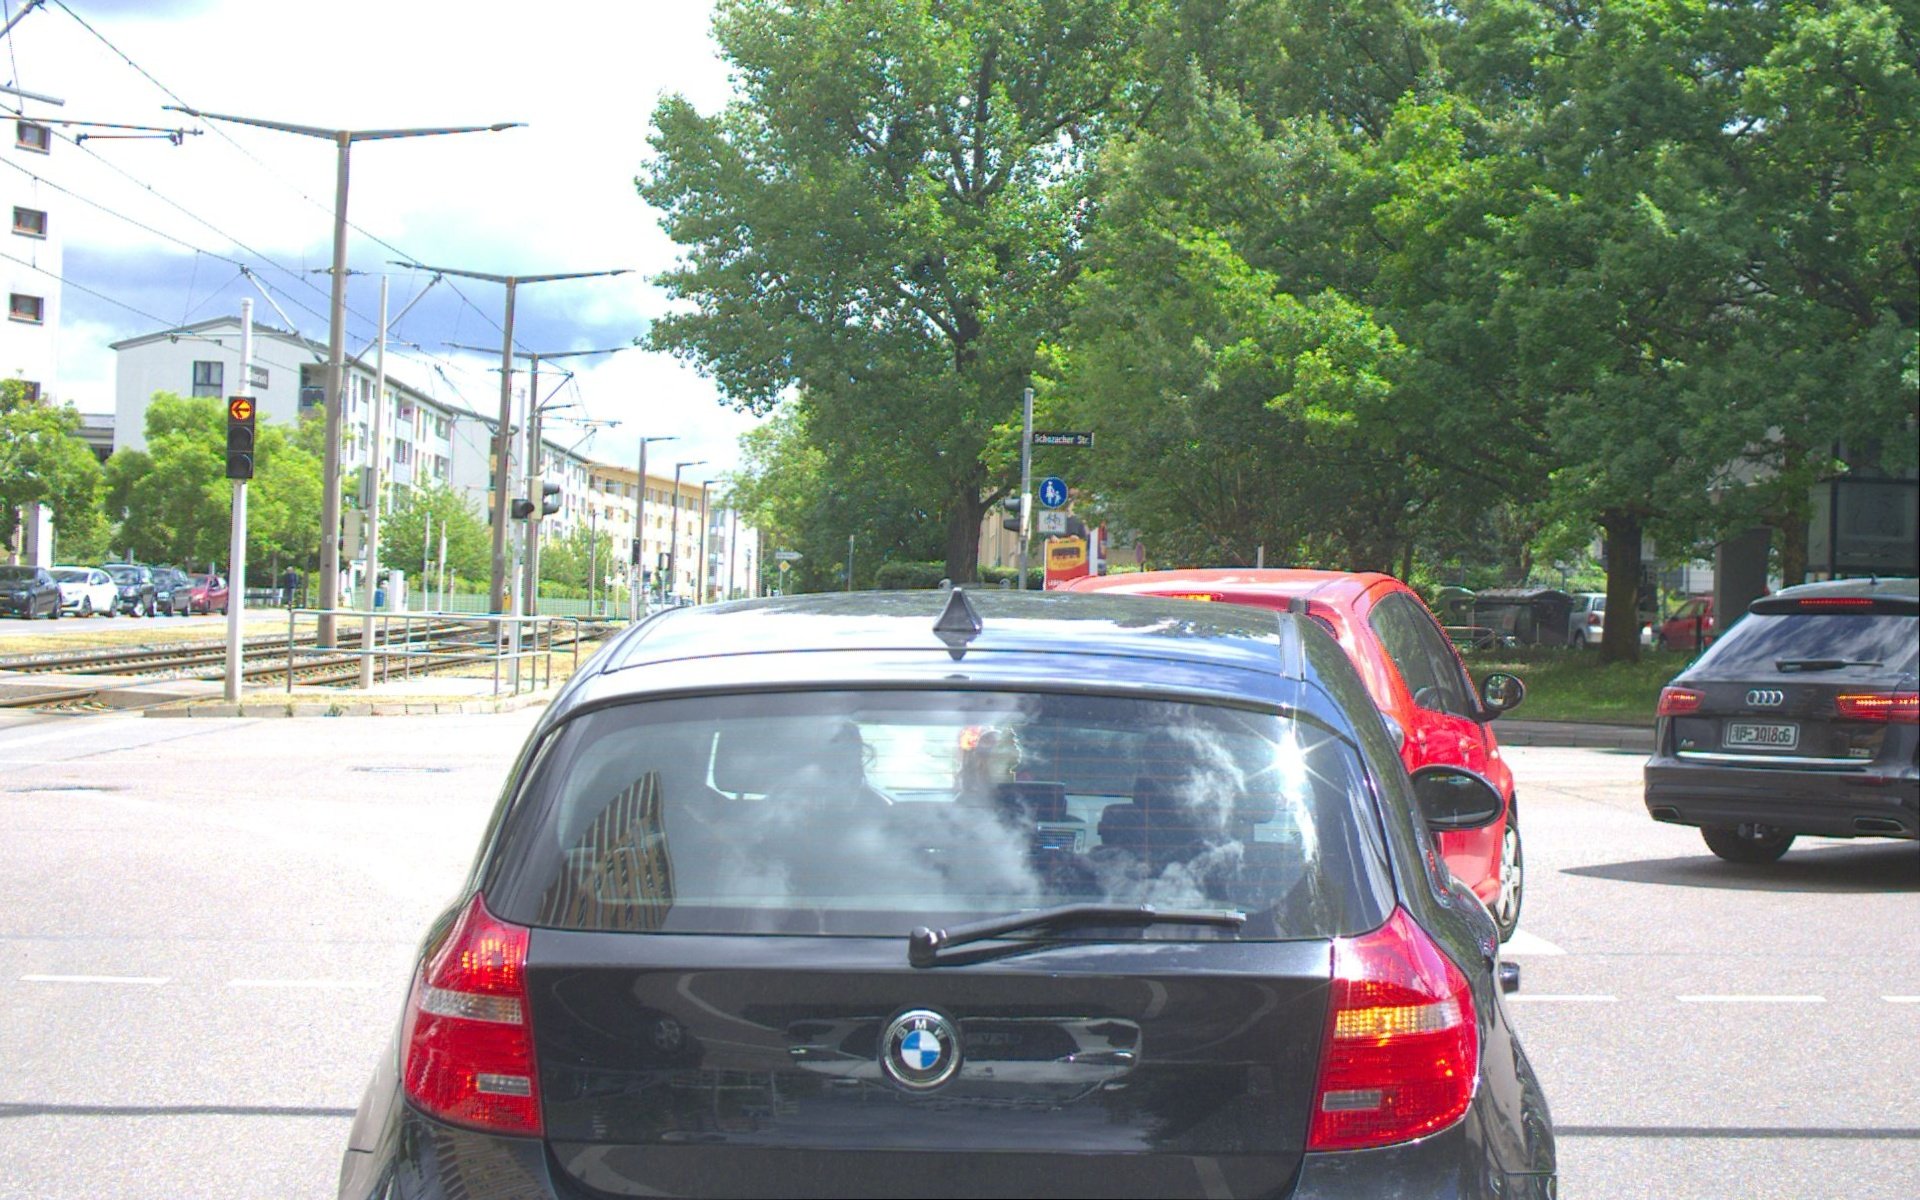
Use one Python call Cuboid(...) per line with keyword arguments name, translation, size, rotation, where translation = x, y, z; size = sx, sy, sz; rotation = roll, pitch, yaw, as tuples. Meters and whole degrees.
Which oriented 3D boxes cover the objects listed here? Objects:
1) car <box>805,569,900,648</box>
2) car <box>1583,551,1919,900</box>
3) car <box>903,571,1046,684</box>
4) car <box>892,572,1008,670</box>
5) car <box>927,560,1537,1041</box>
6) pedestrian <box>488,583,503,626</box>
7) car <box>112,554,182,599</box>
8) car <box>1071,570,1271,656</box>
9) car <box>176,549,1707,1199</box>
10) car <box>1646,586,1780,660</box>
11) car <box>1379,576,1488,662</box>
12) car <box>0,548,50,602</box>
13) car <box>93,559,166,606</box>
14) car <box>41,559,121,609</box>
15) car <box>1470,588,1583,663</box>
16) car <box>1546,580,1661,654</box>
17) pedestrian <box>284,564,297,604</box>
Cuboid(name="car", translation=(-2.391, 0.168, 77.105), size=(1.993, 1.678, 4.000), rotation=(1, 1, 0))
Cuboid(name="car", translation=(5.372, 0.561, 17.468), size=(4.508, 1.548, 1.999), rotation=(0, 0, -42))
Cuboid(name="car", translation=(0.211, 0.420, 54.218), size=(2.152, 1.678, 4.000), rotation=(1, 0, 0))
Cuboid(name="car", translation=(-0.184, 0.373, 61.667), size=(1.993, 1.678, 4.000), rotation=(1, 0, 0))
Cuboid(name="car", translation=(1.087, 0.594, 12.261), size=(1.543, 1.436, 3.193), rotation=(1, 1, 16))
Cuboid(name="pedestrian", translation=(-17.593, 0.161, 130.252), size=(0.478, 1.631, 0.454), rotation=(1, 1, -1))
Cuboid(name="car", translation=(-26.512, -0.777, 112.160), size=(1.760, 1.390, 4.001), rotation=(1, 1, -7))
Cuboid(name="car", translation=(4.643, 0.285, 75.723), size=(3.986, 1.817, 1.779), rotation=(1, 1, -22))
Cuboid(name="car", translation=(-0.045, 0.677, 5.972), size=(1.752, 1.482, 4.000), rotation=(1, 1, 0))
Cuboid(name="car", translation=(17.346, 0.506, 79.370), size=(1.730, 1.589, 4.001), rotation=(1, 1, -8))
Cuboid(name="car", translation=(10.549, 0.395, 76.795), size=(1.630, 1.804, 4.033), rotation=(1, 1, -3))
Cuboid(name="car", translation=(-25.944, -0.699, 93.483), size=(1.760, 1.390, 4.001), rotation=(1, 1, -7))
Cuboid(name="car", translation=(-25.976, -0.551, 107.596), size=(1.760, 1.390, 4.001), rotation=(1, 1, -7))
Cuboid(name="car", translation=(-25.810, -0.472, 101.017), size=(1.760, 1.390, 4.001), rotation=(1, 1, -7))
Cuboid(name="car", translation=(12.755, 0.557, 77.570), size=(1.630, 1.567, 4.033), rotation=(1, 1, -3))
Cuboid(name="car", translation=(14.749, 0.365, 78.958), size=(1.630, 1.589, 4.001), rotation=(1, 1, -3))
Cuboid(name="pedestrian", translation=(-27.158, -0.646, 139.476), size=(0.452, 1.631, 0.480), rotation=(1, 1, -3))
